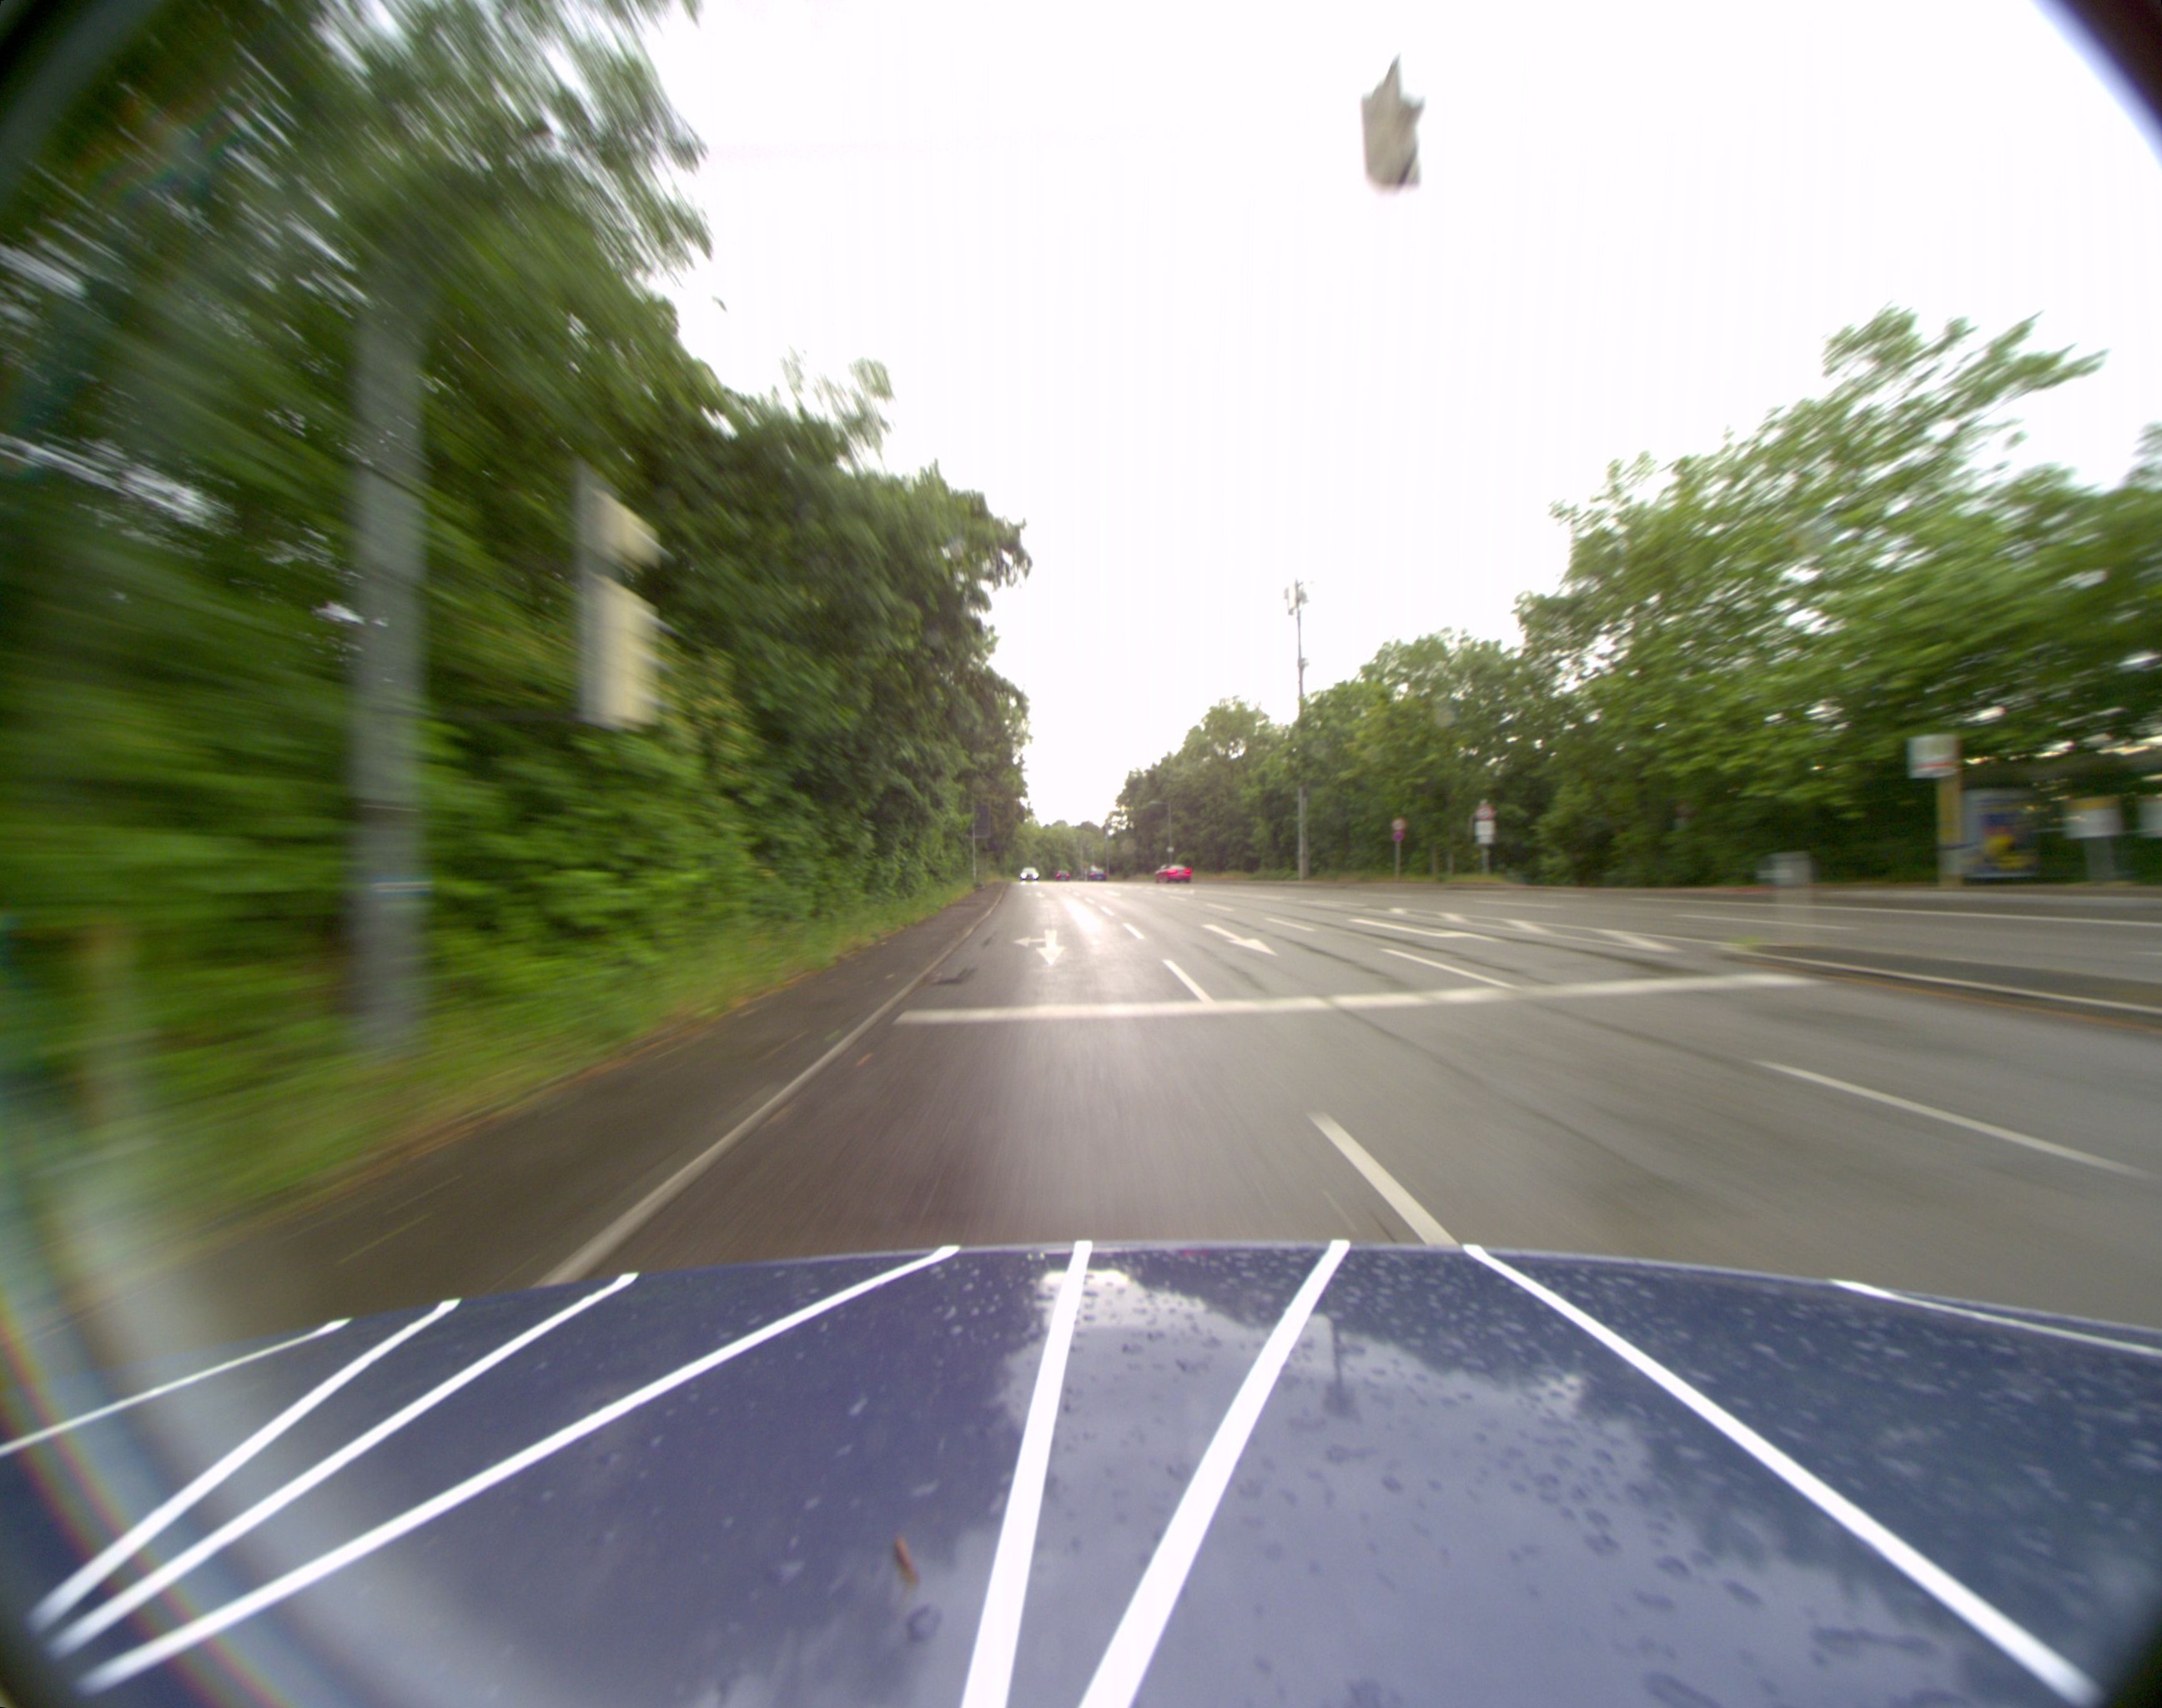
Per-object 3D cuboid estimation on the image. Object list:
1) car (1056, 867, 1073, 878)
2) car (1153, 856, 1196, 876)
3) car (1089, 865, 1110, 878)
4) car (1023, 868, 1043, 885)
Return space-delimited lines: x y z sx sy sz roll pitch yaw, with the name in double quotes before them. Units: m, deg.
"car" -2.221 2.473 100.977 1.706 1.419 4.075 0 -1 -10
"car" 6.710 0.845 55.011 1.881 1.366 4.381 -1 -1 -10
"car" 2.063 1.972 86.361 1.636 1.386 3.997 -1 0 -9
"car" -4.871 2.281 77.307 1.999 1.576 3.999 1 -1 -3
